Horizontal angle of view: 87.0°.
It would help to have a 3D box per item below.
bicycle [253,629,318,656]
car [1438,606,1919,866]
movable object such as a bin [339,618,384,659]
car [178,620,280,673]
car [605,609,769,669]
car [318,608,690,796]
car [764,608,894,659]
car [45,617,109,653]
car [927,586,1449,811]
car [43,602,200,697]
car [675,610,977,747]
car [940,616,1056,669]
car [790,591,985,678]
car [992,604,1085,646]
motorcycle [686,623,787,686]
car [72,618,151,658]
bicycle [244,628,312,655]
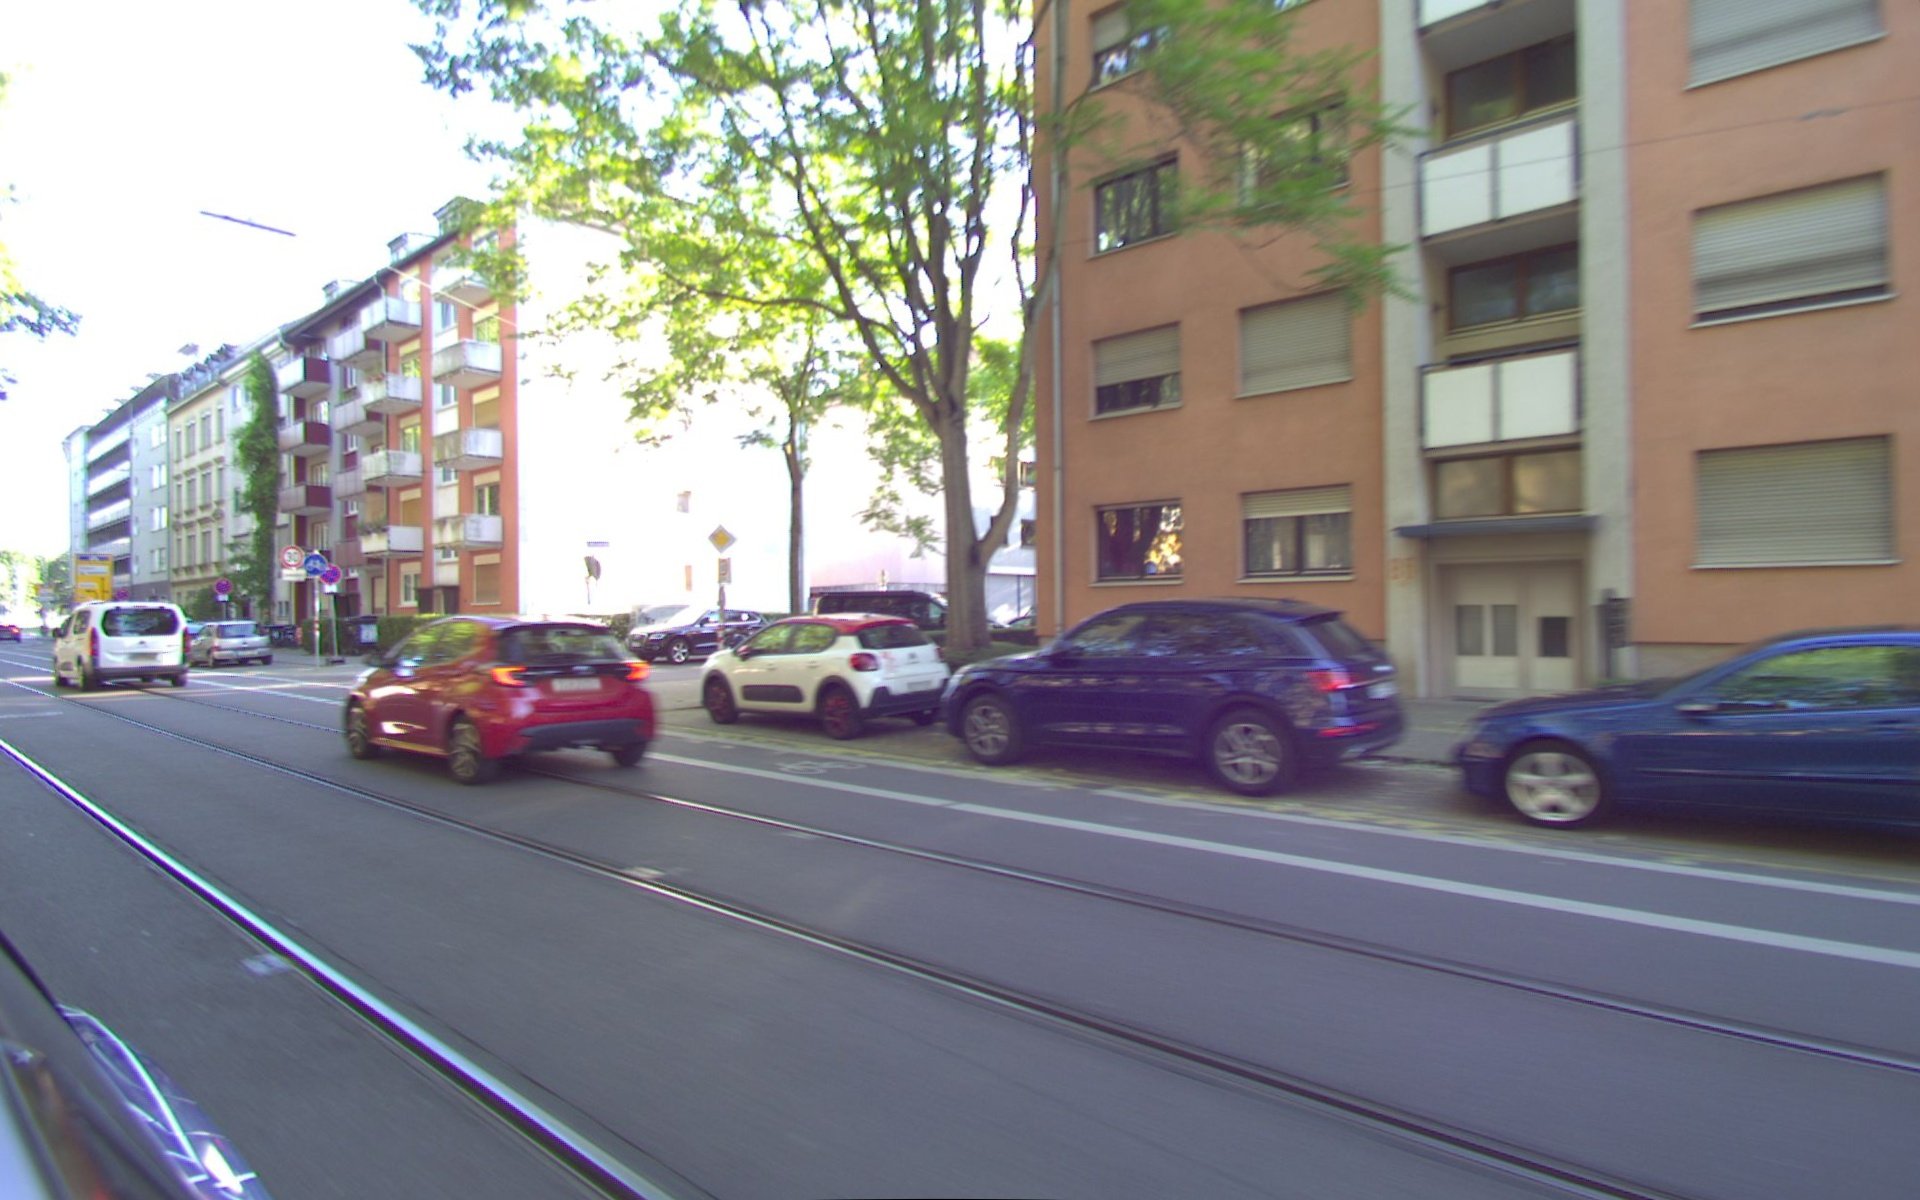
[{"bbox_3d":[-29.605,1.851,44.461,0.698,1.000,2.268,-2,1,38],"label":"bicycle"},{"bbox_3d":[5.726,0.785,6.633,4.379,1.411,1.721,-2,1,40],"label":"car"},{"bbox_3d":[-20.907,1.330,35.353,0.747,1.375,1.198,-2,-2,43],"label":"movable object such as a bin"},{"bbox_3d":[-23.239,1.431,32.117,3.927,1.494,1.708,-1,1,40],"label":"car"},{"bbox_3d":[-8.157,1.098,30.530,1.937,1.618,4.485,0,0,41],"label":"car"},{"bbox_3d":[-4.621,0.857,9.974,4.200,1.469,1.757,-1,-2,41],"label":"car"},{"bbox_3d":[-4.480,1.090,34.980,1.937,1.618,4.263,0,0,41],"label":"car"},{"bbox_3d":[-46.732,1.845,53.527,4.465,1.784,1.771,-2,0,38],"label":"car"},{"bbox_3d":[1.994,0.778,9.766,4.585,1.622,1.763,-2,2,40],"label":"car"},{"bbox_3d":[-18.309,1.011,22.012,4.893,1.846,1.872,-1,-1,41],"label":"car"},{"bbox_3d":[-1.904,0.930,13.585,4.089,1.489,1.787,-1,1,42],"label":"car"},{"bbox_3d":[1.172,1.270,30.802,3.286,1.556,1.627,-1,-1,13],"label":"car"},{"bbox_3d":[-1.848,0.875,26.324,4.676,2.139,1.992,-1,0,13],"label":"car"},{"bbox_3d":[3.495,1.055,44.361,1.915,1.736,4.263,0,0,41],"label":"car"},{"bbox_3d":[-4.935,1.212,22.258,2.346,1.290,0.893,-4,-3,39],"label":"motorcycle"},{"bbox_3d":[-38.760,1.708,46.185,4.878,1.661,1.933,-1,1,40],"label":"car"},{"bbox_3d":[-30.463,1.852,45.228,0.698,1.070,2.427,-2,1,38],"label":"bicycle"}]
